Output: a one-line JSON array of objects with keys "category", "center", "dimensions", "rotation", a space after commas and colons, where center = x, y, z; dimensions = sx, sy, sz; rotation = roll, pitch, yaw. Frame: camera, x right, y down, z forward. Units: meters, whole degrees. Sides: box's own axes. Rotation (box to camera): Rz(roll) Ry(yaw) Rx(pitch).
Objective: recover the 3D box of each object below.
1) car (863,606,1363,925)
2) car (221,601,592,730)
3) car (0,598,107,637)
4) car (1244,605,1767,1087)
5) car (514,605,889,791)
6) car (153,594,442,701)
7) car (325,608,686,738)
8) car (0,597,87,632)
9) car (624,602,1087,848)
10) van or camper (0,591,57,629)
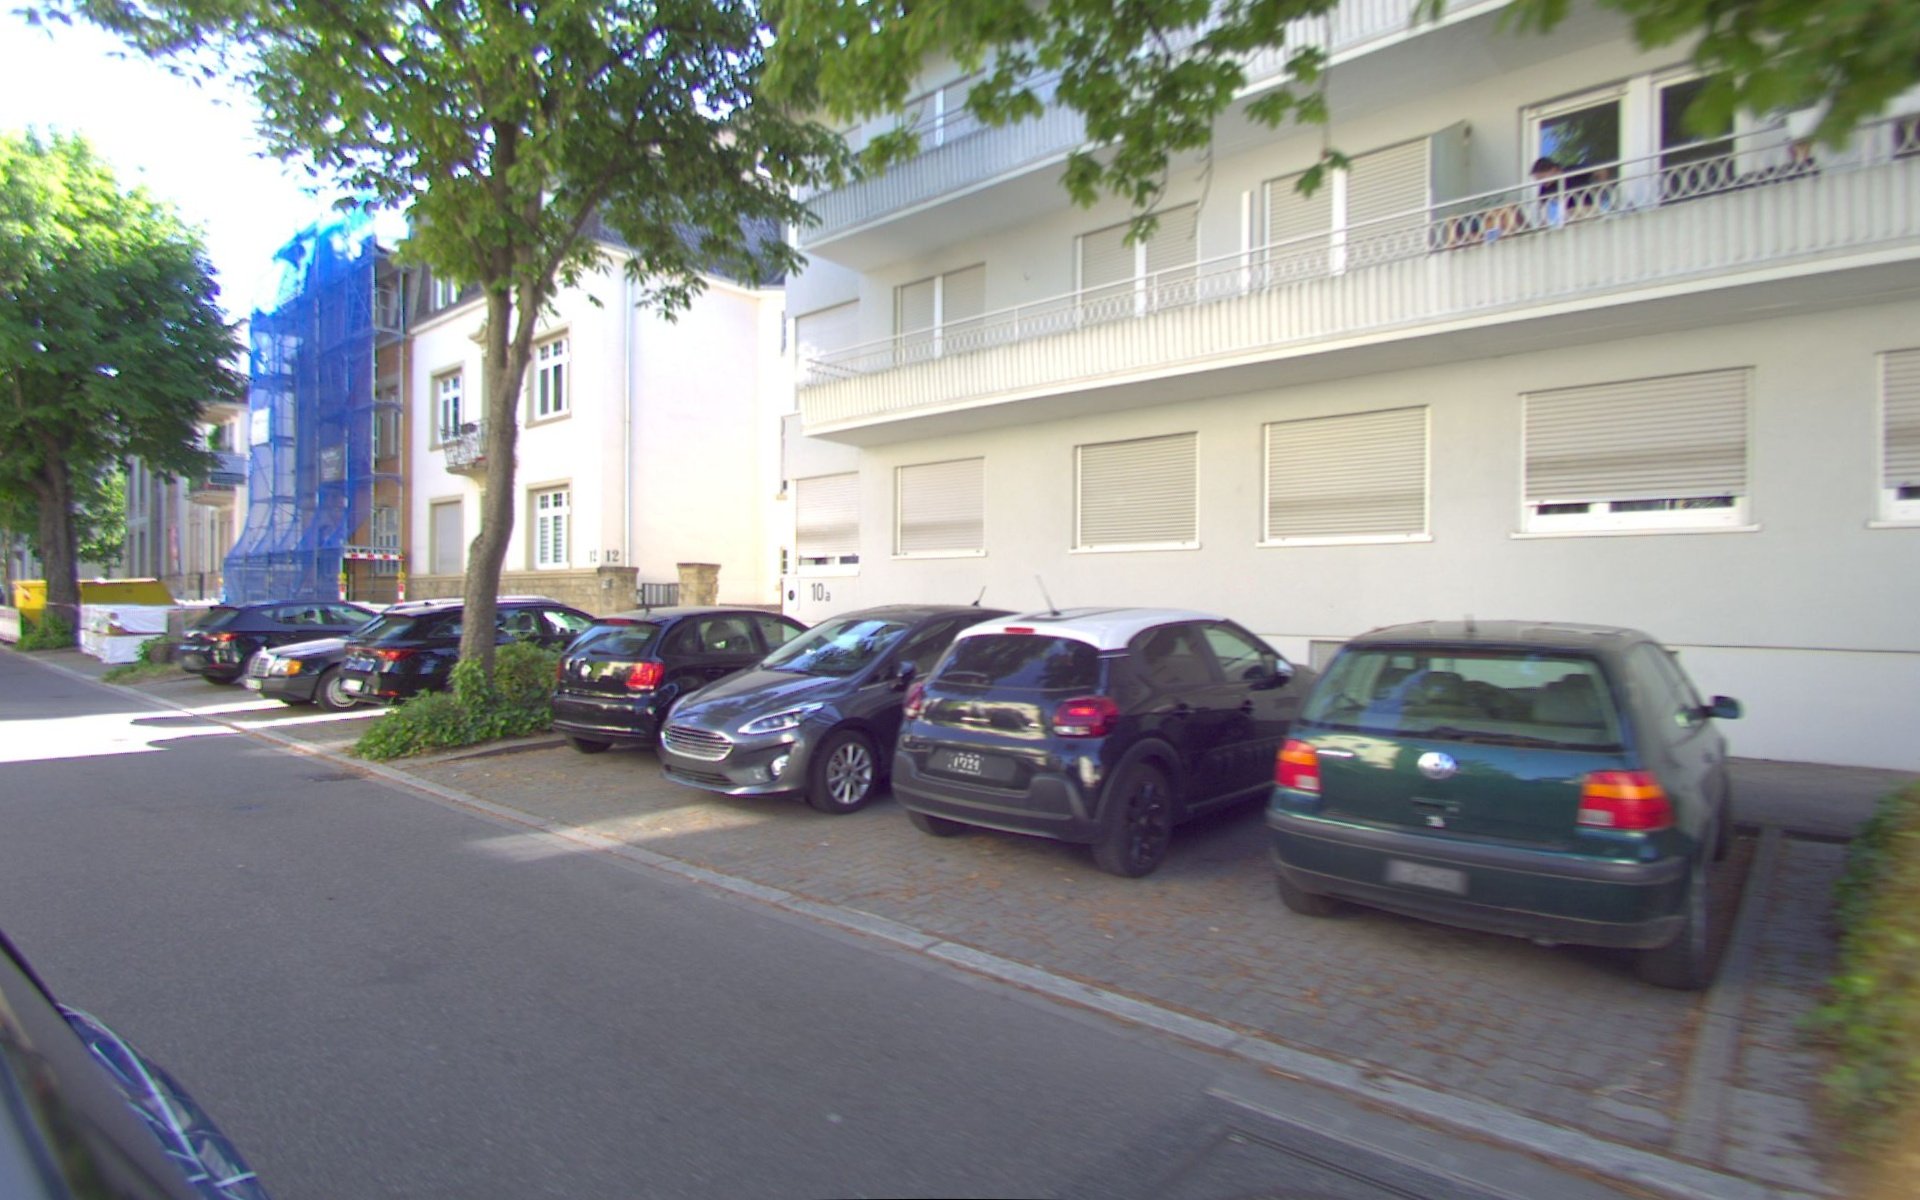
[{"category": "car", "center": [1.215, 0.838, 6.920], "dimensions": [1.797, 1.469, 3.441], "rotation": [1, 2, 42]}, {"category": "car", "center": [-8.073, 0.838, 15.162], "dimensions": [1.831, 1.619, 4.544], "rotation": [0, 0, 39]}, {"category": "car", "center": [-35.913, 0.706, 39.559], "dimensions": [1.714, 1.476, 3.686], "rotation": [-1, -2, 42]}, {"category": "car", "center": [3.086, 0.791, 5.258], "dimensions": [1.714, 1.425, 3.884], "rotation": [-1, 1, 39]}, {"category": "car", "center": [-2.481, 0.828, 10.372], "dimensions": [1.707, 1.431, 3.447], "rotation": [1, 2, 36]}, {"category": "car", "center": [-11.517, 0.725, 17.836], "dimensions": [1.827, 1.525, 3.841], "rotation": [0, 3, 32]}, {"category": "car", "center": [-5.979, 0.849, 13.716], "dimensions": [1.712, 1.452, 4.145], "rotation": [1, 0, 40]}, {"category": "car", "center": [-39.705, 0.603, 42.729], "dimensions": [1.709, 1.411, 4.097], "rotation": [0, 0, 41]}, {"category": "car", "center": [-0.698, 0.806, 8.404], "dimensions": [1.710, 1.473, 3.604], "rotation": [1, 2, 43]}, {"category": "van or camper", "center": [-46.127, 0.476, 48.625], "dimensions": [1.808, 1.787, 3.903], "rotation": [-1, -1, 40]}]
